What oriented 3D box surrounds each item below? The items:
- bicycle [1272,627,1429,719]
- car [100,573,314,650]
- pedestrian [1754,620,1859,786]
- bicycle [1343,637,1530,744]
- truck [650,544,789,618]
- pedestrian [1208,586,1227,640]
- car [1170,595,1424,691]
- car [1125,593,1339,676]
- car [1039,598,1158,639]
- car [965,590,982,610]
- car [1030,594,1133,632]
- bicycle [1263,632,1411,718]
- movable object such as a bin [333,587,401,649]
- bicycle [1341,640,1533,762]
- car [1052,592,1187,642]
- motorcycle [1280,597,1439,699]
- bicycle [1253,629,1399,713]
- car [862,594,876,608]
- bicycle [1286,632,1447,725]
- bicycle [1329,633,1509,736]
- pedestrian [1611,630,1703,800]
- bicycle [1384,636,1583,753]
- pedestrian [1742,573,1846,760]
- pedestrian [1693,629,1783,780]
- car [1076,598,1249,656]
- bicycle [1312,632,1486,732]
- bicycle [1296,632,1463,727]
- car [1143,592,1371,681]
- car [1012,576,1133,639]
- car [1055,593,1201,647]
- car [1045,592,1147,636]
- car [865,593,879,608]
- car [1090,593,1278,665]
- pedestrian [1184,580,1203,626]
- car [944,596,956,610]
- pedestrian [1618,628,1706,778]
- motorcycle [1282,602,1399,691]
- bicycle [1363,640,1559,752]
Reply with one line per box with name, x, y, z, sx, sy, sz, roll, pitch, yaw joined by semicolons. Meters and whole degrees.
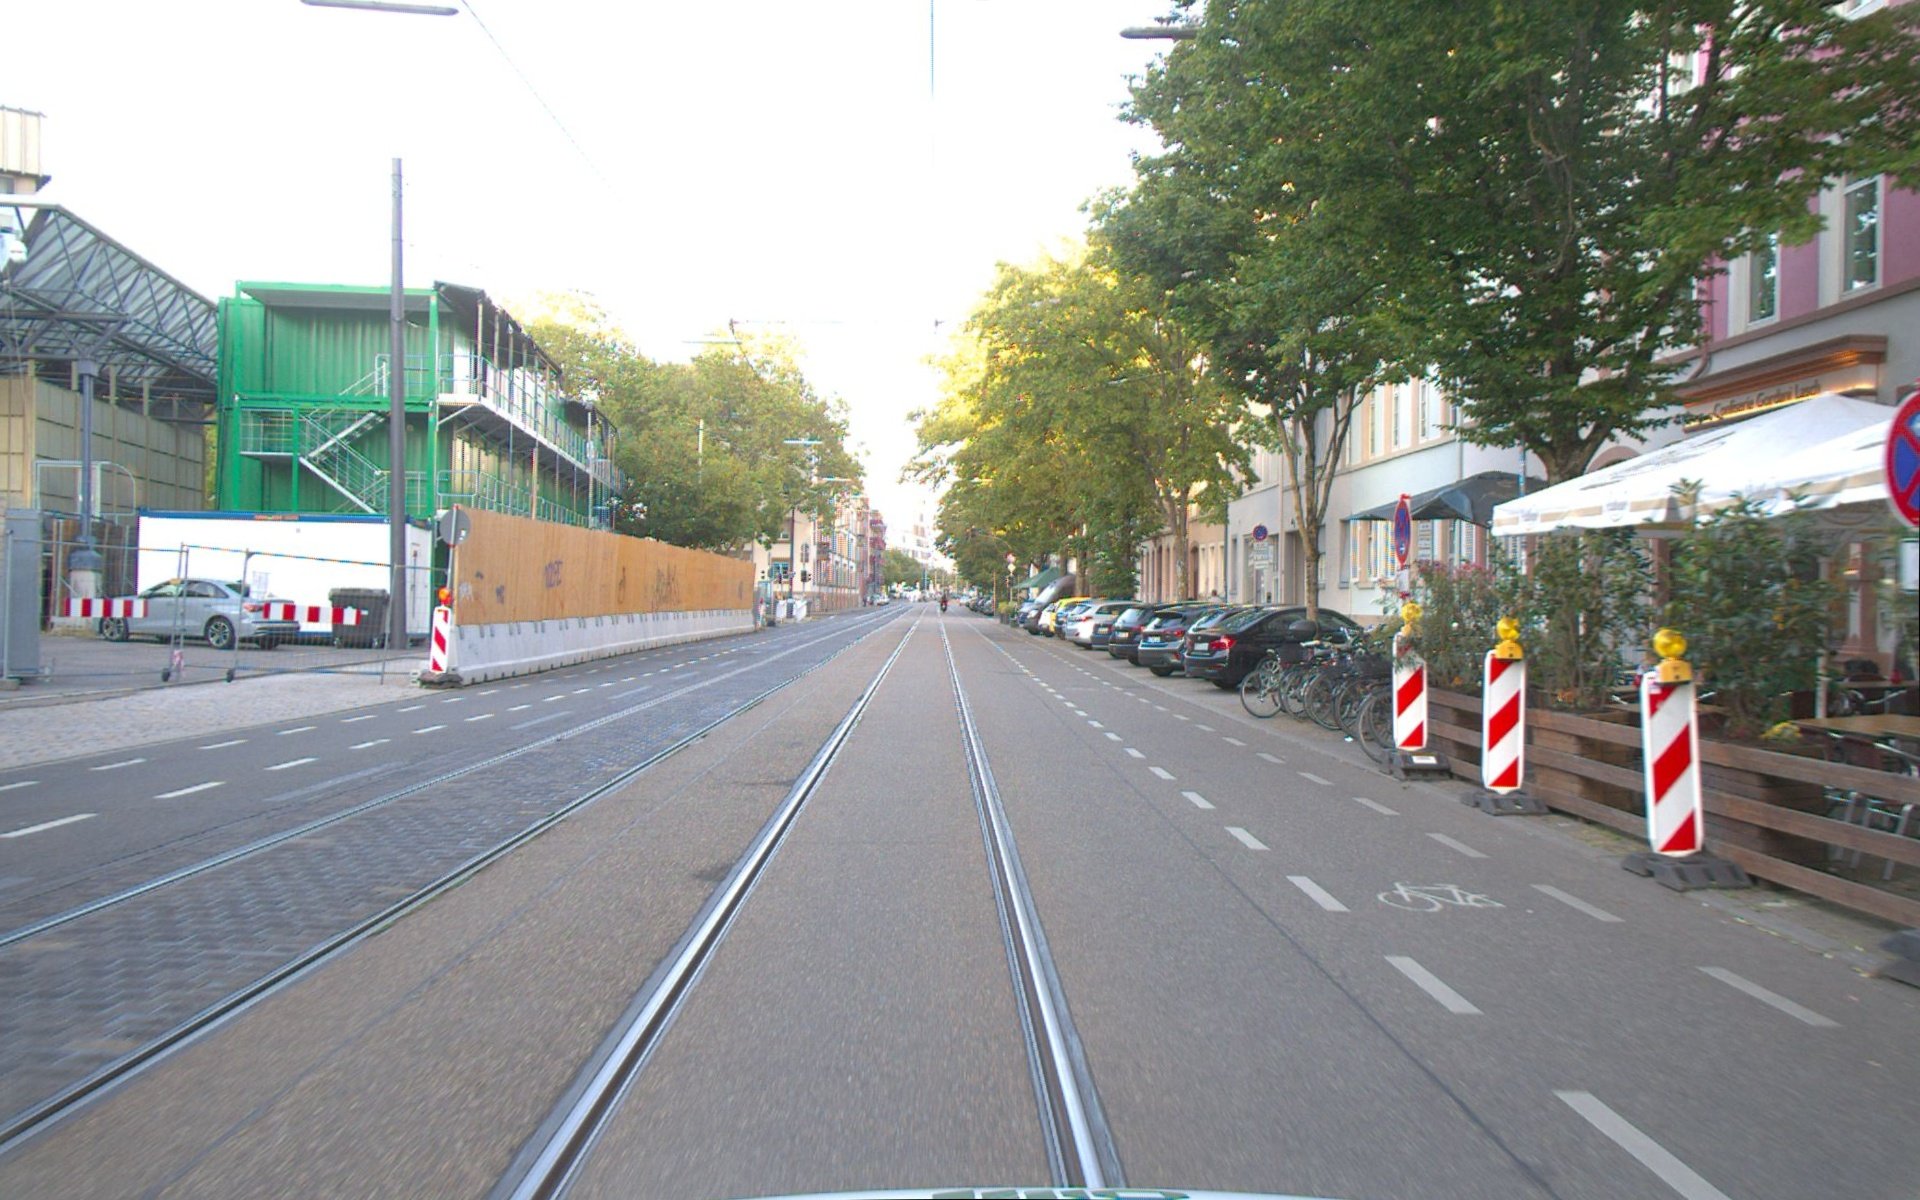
bicycle;5.107;0.943;21.671;1.849;1.086;0.674;-3;0;-3
car;-16.163;0.235;35.547;3.910;1.427;1.737;3;0;14
pedestrian;6.884;0.826;13.466;0.586;1.315;0.504;1;0;1
bicycle;5.218;0.978;18.166;1.849;1.049;0.608;-3;0;-3
truck;-12.626;-1.007;87.189;6.919;3.541;2.539;3;0;-5
pedestrian;8.917;0.443;57.361;0.554;1.846;0.607;0;0;-1
car;6.026;0.726;29.589;4.101;1.451;1.813;-3;1;-20
car;5.703;0.688;34.730;4.057;1.496;1.812;-3;1;-21
car;5.228;0.681;62.422;4.071;1.450;1.904;-1;-1;-27
car;1.403;-0.011;174.597;1.686;2.049;3.999;1;0;-1
car;5.123;0.548;69.604;3.900;1.512;1.906;-1;-1;-25
bicycle;5.078;1.004;22.315;1.826;1.049;0.591;-3;0;-4
movable object such as a bin;-13.506;0.411;37.708;1.280;1.393;0.783;1;0;-4
bicycle;4.573;0.960;15.888;1.645;1.049;0.556;-3;0;-3
car;5.436;0.585;56.328;4.194;1.588;1.884;-1;-1;-24
motorcycle;6.138;0.727;25.516;2.178;1.487;0.967;-1;0;-3
bicycle;5.066;0.972;22.921;1.865;1.049;0.533;-3;0;-3
car;-13.236;0.156;241.671;1.859;2.049;3.999;1;0;-1
bicycle;5.124;0.983;20.917;1.849;1.049;0.608;-3;0;-3
bicycle;5.211;0.954;18.822;1.849;1.049;0.608;-3;0;-3
pedestrian;5.624;0.914;13.367;0.491;1.315;0.600;1;0;4
bicycle;5.268;0.942;16.681;1.779;1.049;0.608;-3;0;-3
pedestrian;8.217;0.638;16.328;0.539;1.794;0.894;1;0;-1
pedestrian;7.002;0.928;14.899;0.492;1.315;0.599;1;0;-5
car;5.428;0.707;44.262;4.195;1.416;2.000;-1;0;-25
bicycle;5.159;0.957;19.485;1.849;1.049;0.608;-3;0;-3
bicycle;5.130;0.963;20.259;1.849;1.049;0.608;-3;0;-3
car;5.762;0.674;32.217;3.887;1.496;1.991;-3;1;-17
car;5.065;0.313;74.284;5.016;2.689;2.011;-1;0;-18
car;5.300;0.620;52.343;4.175;1.576;2.014;-1;0;-12
car;5.375;0.570;65.857;3.870;1.648;1.920;-1;-1;-1
car;-13.047;0.040;246.320;1.859;2.216;3.999;1;0;-1
car;5.389;0.670;39.788;4.065;1.496;1.999;-3;1;-26
pedestrian;8.131;0.097;57.614;0.527;1.595;0.813;0;0;1
car;-1.617;0.457;261.374;1.859;2.049;3.999;1;0;-1
pedestrian;6.370;0.924;15.021;0.492;1.315;0.599;1;0;-6
motorcycle;6.159;0.745;26.809;1.750;1.367;0.533;-1;0;-3
bicycle;5.260;1.004;17.426;1.849;1.049;0.608;-3;0;-3
